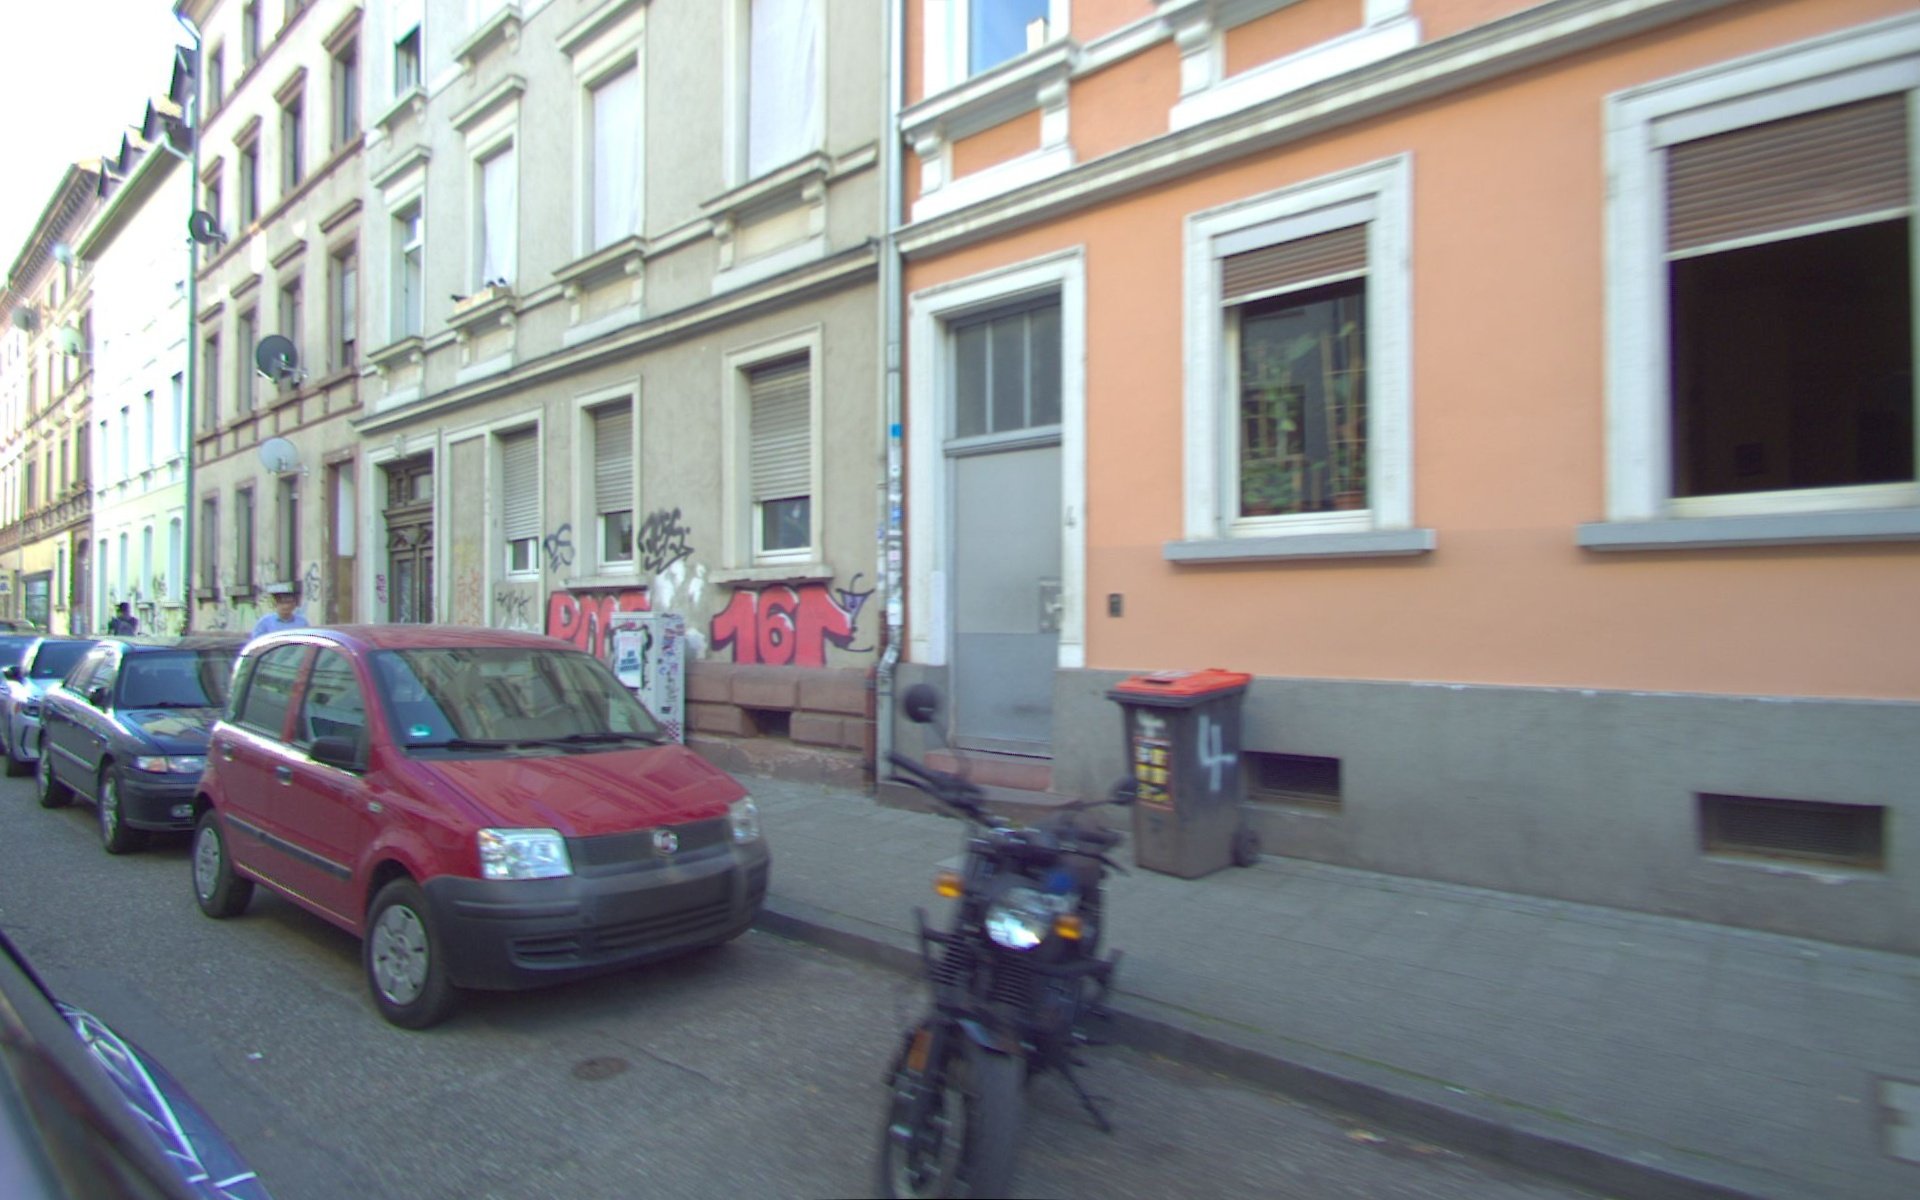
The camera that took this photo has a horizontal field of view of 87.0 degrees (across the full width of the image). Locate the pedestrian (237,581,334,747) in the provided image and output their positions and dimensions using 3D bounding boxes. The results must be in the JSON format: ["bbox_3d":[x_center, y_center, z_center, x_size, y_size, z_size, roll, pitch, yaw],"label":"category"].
[{"bbox_3d":[-7.802,0.710,11.710,0.594,1.844,0.780,-1,0,41],"label":"pedestrian"}]

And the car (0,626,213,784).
[{"bbox_3d":[-9.854,1.038,11.474,1.660,1.474,3.862,1,-2,-45],"label":"car"}]

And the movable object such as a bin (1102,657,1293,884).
[{"bbox_3d":[1.293,0.871,5.506,0.768,1.057,0.663,-2,0,-41],"label":"movable object such as a bin"}]

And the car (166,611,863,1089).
[{"bbox_3d":[-2.351,0.832,4.989,3.607,1.504,1.663,-1,-2,39],"label":"car"}]

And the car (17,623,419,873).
[{"bbox_3d":[-6.064,0.929,8.065,4.310,1.474,1.662,-1,-2,41],"label":"car"}]

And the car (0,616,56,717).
[{"bbox_3d":[-17.628,1.142,18.117,3.858,1.696,1.662,-1,-2,41],"label":"car"}]

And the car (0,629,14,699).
[{"bbox_3d":[-21.838,1.359,21.846,3.858,1.468,1.662,-1,-2,41],"label":"car"}]

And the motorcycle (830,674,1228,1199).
[{"bbox_3d":[0.392,0.889,3.296,0.784,1.137,2.068,-1,0,18],"label":"motorcycle"}]

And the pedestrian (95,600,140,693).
[{"bbox_3d":[-17.281,0.940,20.757,0.594,1.844,0.618,-1,0,41],"label":"pedestrian"}]

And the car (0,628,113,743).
[{"bbox_3d":[-13.623,1.144,14.523,3.858,1.474,1.662,-1,-2,41],"label":"car"}]
